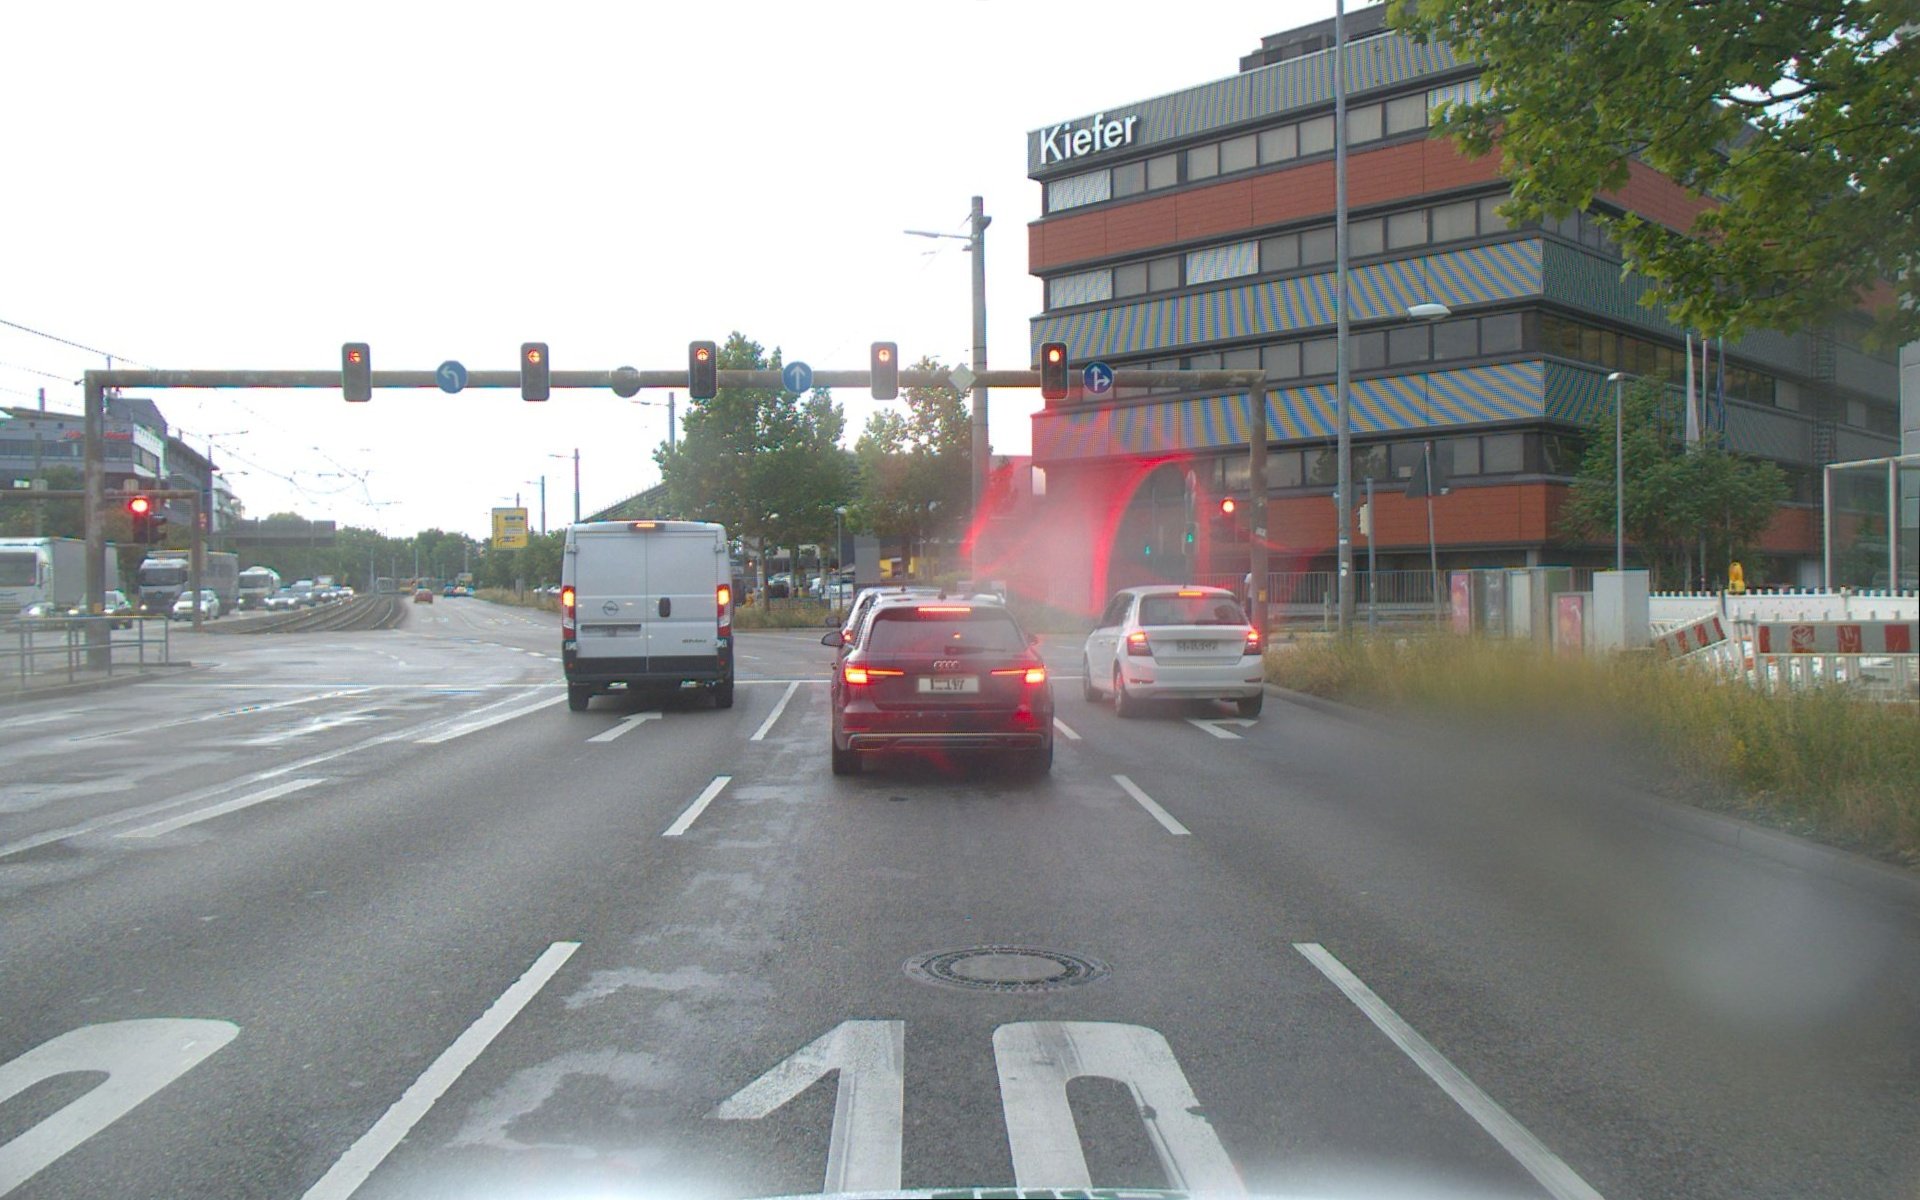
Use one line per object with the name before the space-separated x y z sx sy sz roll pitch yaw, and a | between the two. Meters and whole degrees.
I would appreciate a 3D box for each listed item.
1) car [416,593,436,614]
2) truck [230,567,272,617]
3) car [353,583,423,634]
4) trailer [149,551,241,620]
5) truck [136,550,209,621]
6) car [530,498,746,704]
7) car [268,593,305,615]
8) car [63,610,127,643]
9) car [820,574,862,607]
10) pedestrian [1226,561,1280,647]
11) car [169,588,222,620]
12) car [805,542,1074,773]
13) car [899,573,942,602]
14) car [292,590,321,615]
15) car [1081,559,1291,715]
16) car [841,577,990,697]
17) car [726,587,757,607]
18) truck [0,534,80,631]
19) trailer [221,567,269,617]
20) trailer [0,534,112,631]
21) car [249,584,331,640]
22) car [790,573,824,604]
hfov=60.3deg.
car | -55.110 0.340 170.778 1.744 2.049 4.327 2 -1 -17
truck | -57.677 -0.622 134.481 2.714 3.871 5.363 -2 0 -27
car | -24.247 0.342 70.196 1.738 2.049 4.343 2 0 -5
trailer | -49.763 -0.874 107.983 2.603 4.197 12.707 -1 0 -12
truck | -48.530 -0.858 102.123 2.619 4.202 6.167 -1 0 -12
car | -4.054 0.041 21.699 2.399 2.334 4.896 2 -1 -7
car | -50.829 0.312 124.934 1.871 1.582 4.549 2 0 -14
car | -36.772 1.106 70.418 1.881 1.286 4.386 2 -1 -21
car | -7.767 -0.629 107.711 1.961 2.067 3.983 -1 0 -16
pedestrian | 7.612 0.083 42.974 1.120 2.162 1.222 -1 2 -2
car | -42.748 0.243 92.575 1.854 1.681 4.082 2 -1 -13
car | -0.202 0.444 14.122 1.953 1.666 3.998 -1 -1 -2
car | -2.870 -0.890 120.077 1.844 2.049 3.748 2 -1 -22
car | -56.121 0.208 142.045 1.963 1.869 4.883 2 1 -18
car | 2.600 0.422 19.938 1.792 1.685 3.997 0 -1 -3
car | -0.562 0.478 22.635 1.855 1.491 3.908 0 -1 0
car | -18.331 -0.216 138.806 1.765 1.619 3.977 -1 0 -20
truck | -40.491 -0.752 71.958 2.788 4.066 5.956 -1 0 -18
trailer | -60.368 -0.626 139.575 2.694 3.922 11.122 -2 0 -28
trailer | -42.212 -0.795 77.239 2.751 4.179 11.383 -1 1 -18
car | -26.210 0.443 64.830 1.738 2.049 4.343 2 0 -5
car | -10.754 -0.806 116.371 1.653 2.049 3.524 2 -1 -17
